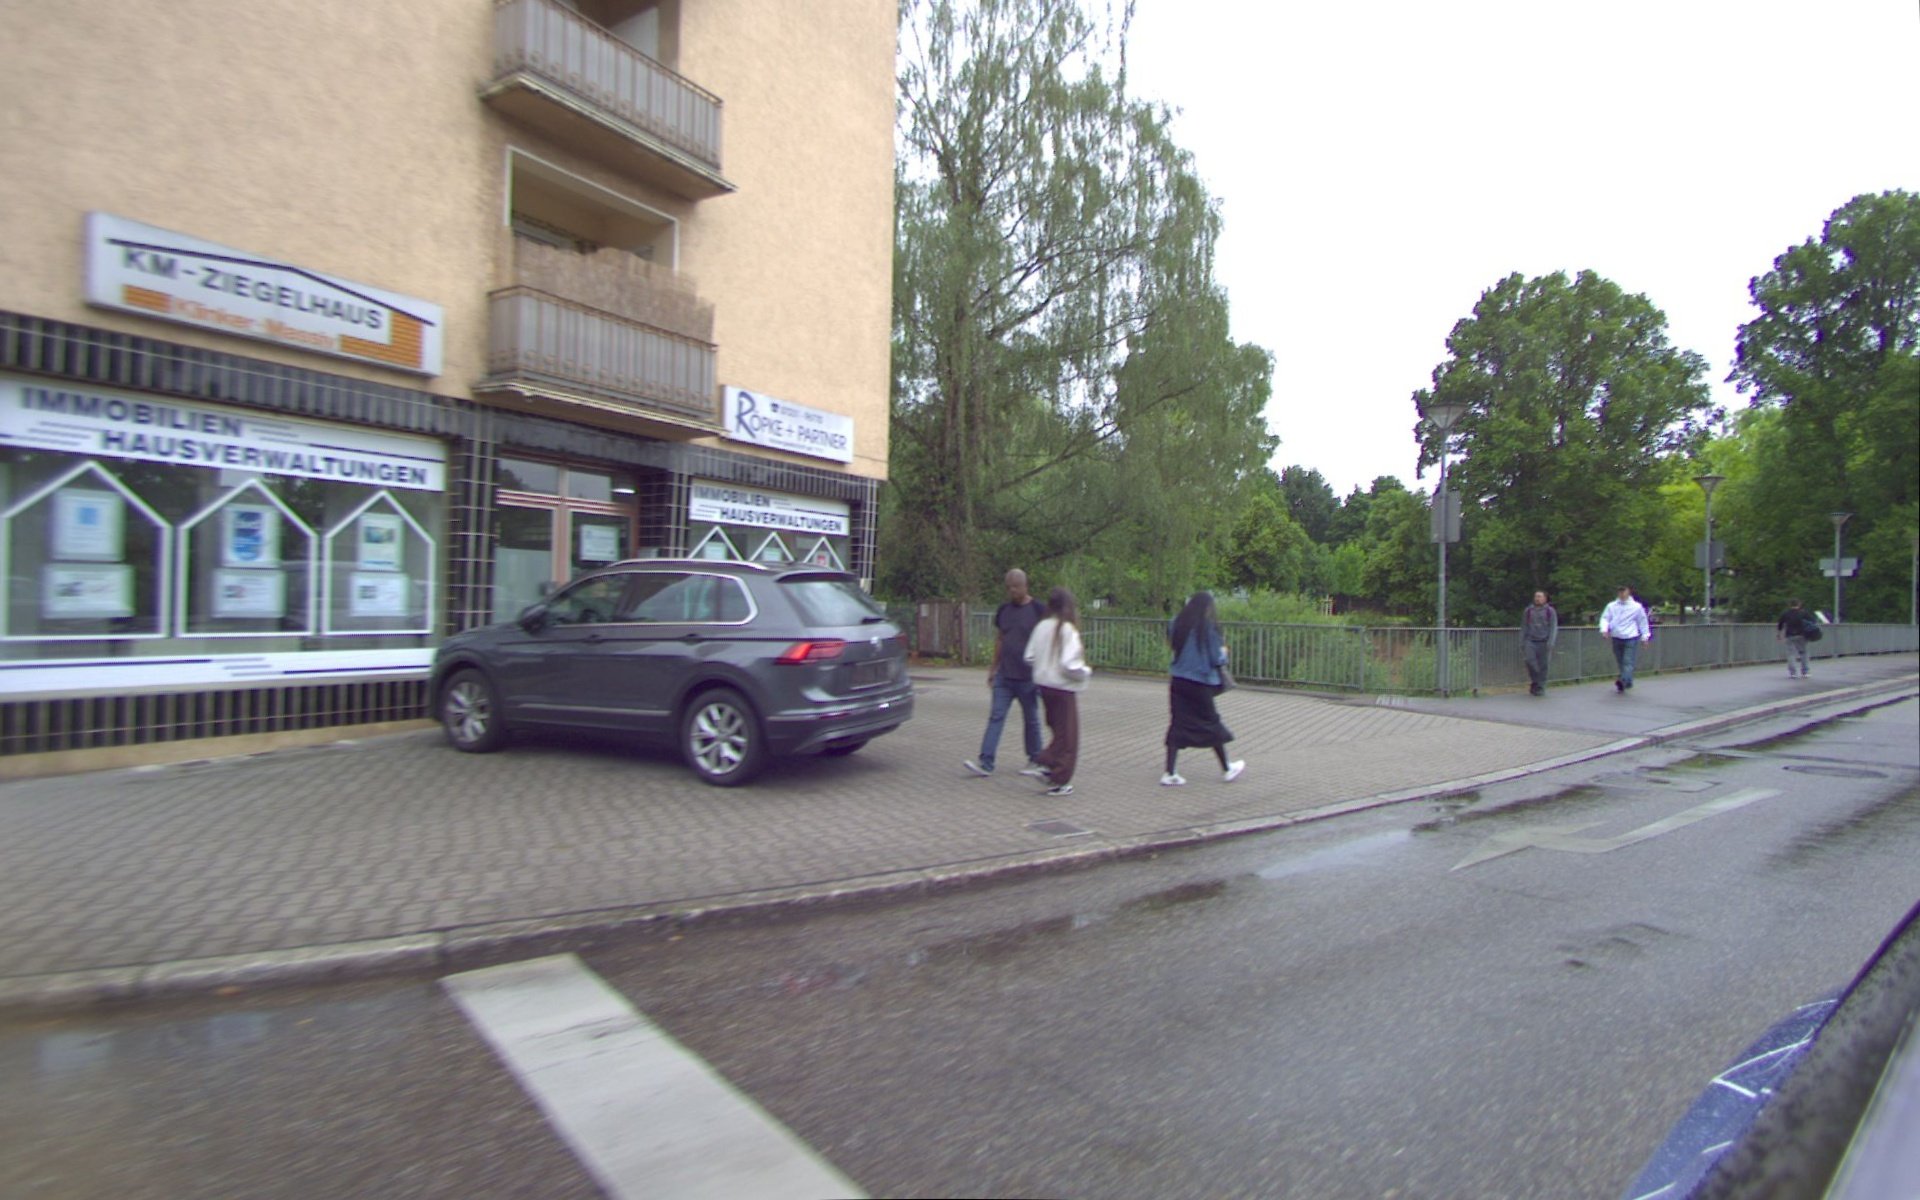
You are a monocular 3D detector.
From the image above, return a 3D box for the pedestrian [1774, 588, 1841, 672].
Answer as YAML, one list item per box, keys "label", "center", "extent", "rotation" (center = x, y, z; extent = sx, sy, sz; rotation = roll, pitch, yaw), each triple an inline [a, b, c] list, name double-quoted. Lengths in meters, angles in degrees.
- label: "pedestrian"
  center: [17.326, 0.593, 20.689]
  extent: [0.824, 1.639, 0.865]
  rotation: [1, 1, -38]

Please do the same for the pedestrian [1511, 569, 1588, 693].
- label: "pedestrian"
  center: [9.080, 0.458, 15.591]
  extent: [0.767, 1.831, 0.763]
  rotation: [2, 0, -38]

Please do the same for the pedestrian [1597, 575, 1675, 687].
- label: "pedestrian"
  center: [11.099, 0.485, 16.611]
  extent: [1.041, 1.774, 0.781]
  rotation: [1, 0, -39]

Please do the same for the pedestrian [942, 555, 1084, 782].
- label: "pedestrian"
  center: [0.421, 0.508, 8.135]
  extent: [0.767, 1.698, 0.763]
  rotation: [2, 1, -38]

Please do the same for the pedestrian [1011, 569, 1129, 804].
- label: "pedestrian"
  center: [0.828, 0.593, 7.469]
  extent: [0.751, 1.594, 0.779]
  rotation: [3, 1, 9]

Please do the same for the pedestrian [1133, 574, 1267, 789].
- label: "pedestrian"
  center: [1.942, 0.618, 8.186]
  extent: [0.782, 1.620, 0.659]
  rotation: [1, 2, -41]

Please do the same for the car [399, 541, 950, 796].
- label: "car"
  center: [-2.446, 0.398, 8.589]
  extent: [4.335, 1.669, 1.867]
  rotation: [2, 1, 25]
